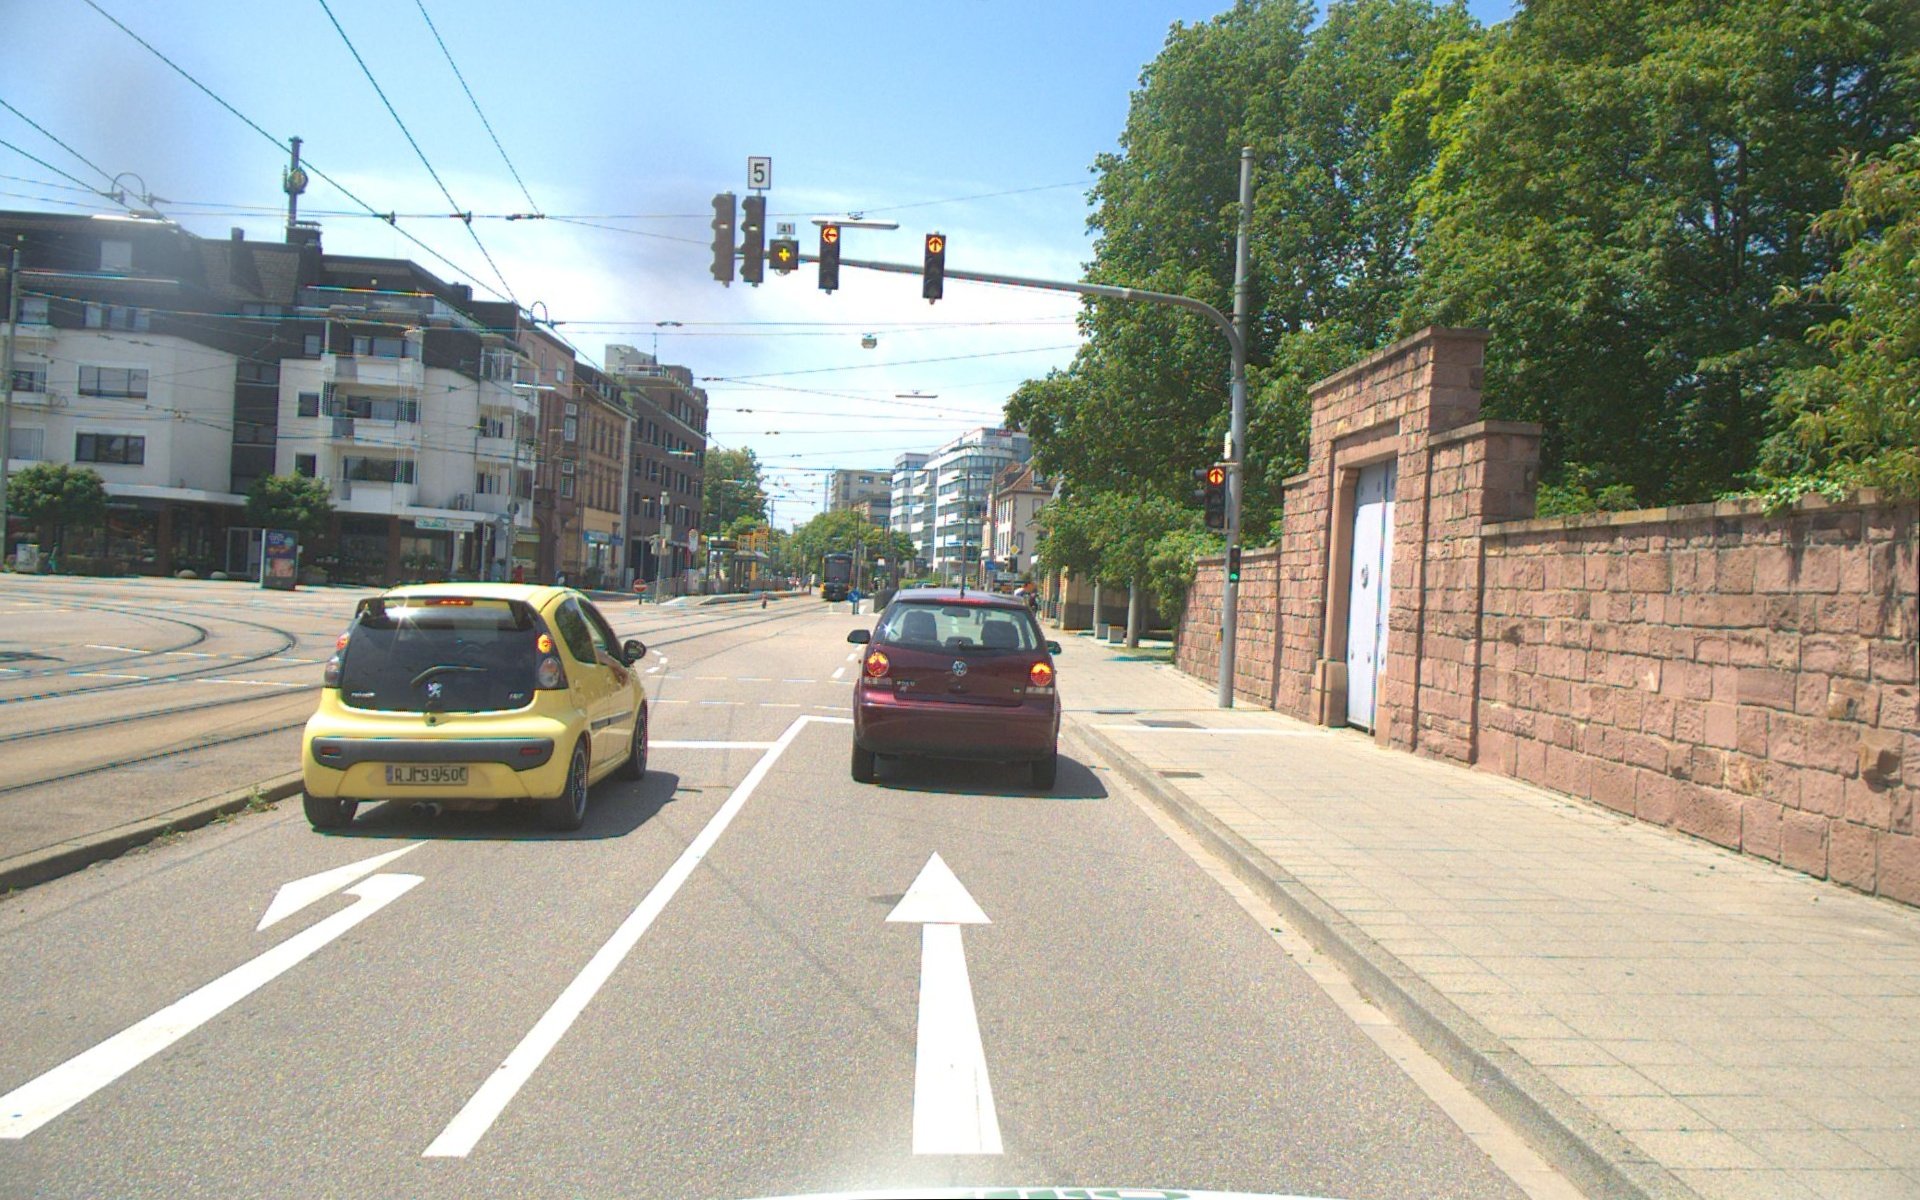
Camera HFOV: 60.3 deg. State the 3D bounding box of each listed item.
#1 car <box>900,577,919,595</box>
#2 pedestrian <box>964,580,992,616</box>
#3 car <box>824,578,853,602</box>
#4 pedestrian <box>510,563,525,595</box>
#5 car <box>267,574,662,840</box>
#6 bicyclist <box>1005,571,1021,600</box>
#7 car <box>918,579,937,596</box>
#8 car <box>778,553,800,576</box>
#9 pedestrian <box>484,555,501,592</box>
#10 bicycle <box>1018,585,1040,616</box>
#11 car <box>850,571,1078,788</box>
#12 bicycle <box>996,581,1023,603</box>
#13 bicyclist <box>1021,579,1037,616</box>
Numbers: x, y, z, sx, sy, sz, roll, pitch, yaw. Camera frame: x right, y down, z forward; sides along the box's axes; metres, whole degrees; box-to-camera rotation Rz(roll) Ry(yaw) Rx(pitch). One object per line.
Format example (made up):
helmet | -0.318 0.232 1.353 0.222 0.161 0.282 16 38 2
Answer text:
car | -5.080 -1.371 165.278 1.745 1.651 3.997 1 0 -3
pedestrian | 0.884 -0.082 81.043 0.903 1.690 0.978 3 0 43
car | -8.986 -0.712 122.703 1.899 1.670 3.999 1 0 -2
pedestrian | -21.767 -1.042 81.415 0.473 1.568 0.538 1 -1 13
car | -3.098 0.583 10.997 1.688 1.470 3.292 1 1 -2
bicyclist | 2.640 -0.713 82.059 0.495 1.430 0.767 1 -1 27
car | -2.826 -1.123 143.079 1.541 1.440 3.719 0 0 -2
car | -16.497 -3.426 159.887 1.700 2.048 3.999 2 0 -1
pedestrian | -22.923 -1.306 81.093 0.497 1.785 0.606 1 -1 45
bicycle | 3.476 0.032 83.679 0.818 1.552 3.999 1 0 -1
car | -0.029 0.557 13.978 1.577 1.489 4.084 3 0 -2
bicycle | 2.462 -0.389 81.720 0.566 1.025 1.869 1 0 27
bicyclist | 3.521 -0.109 84.578 0.707 1.850 0.888 1 -1 -1
